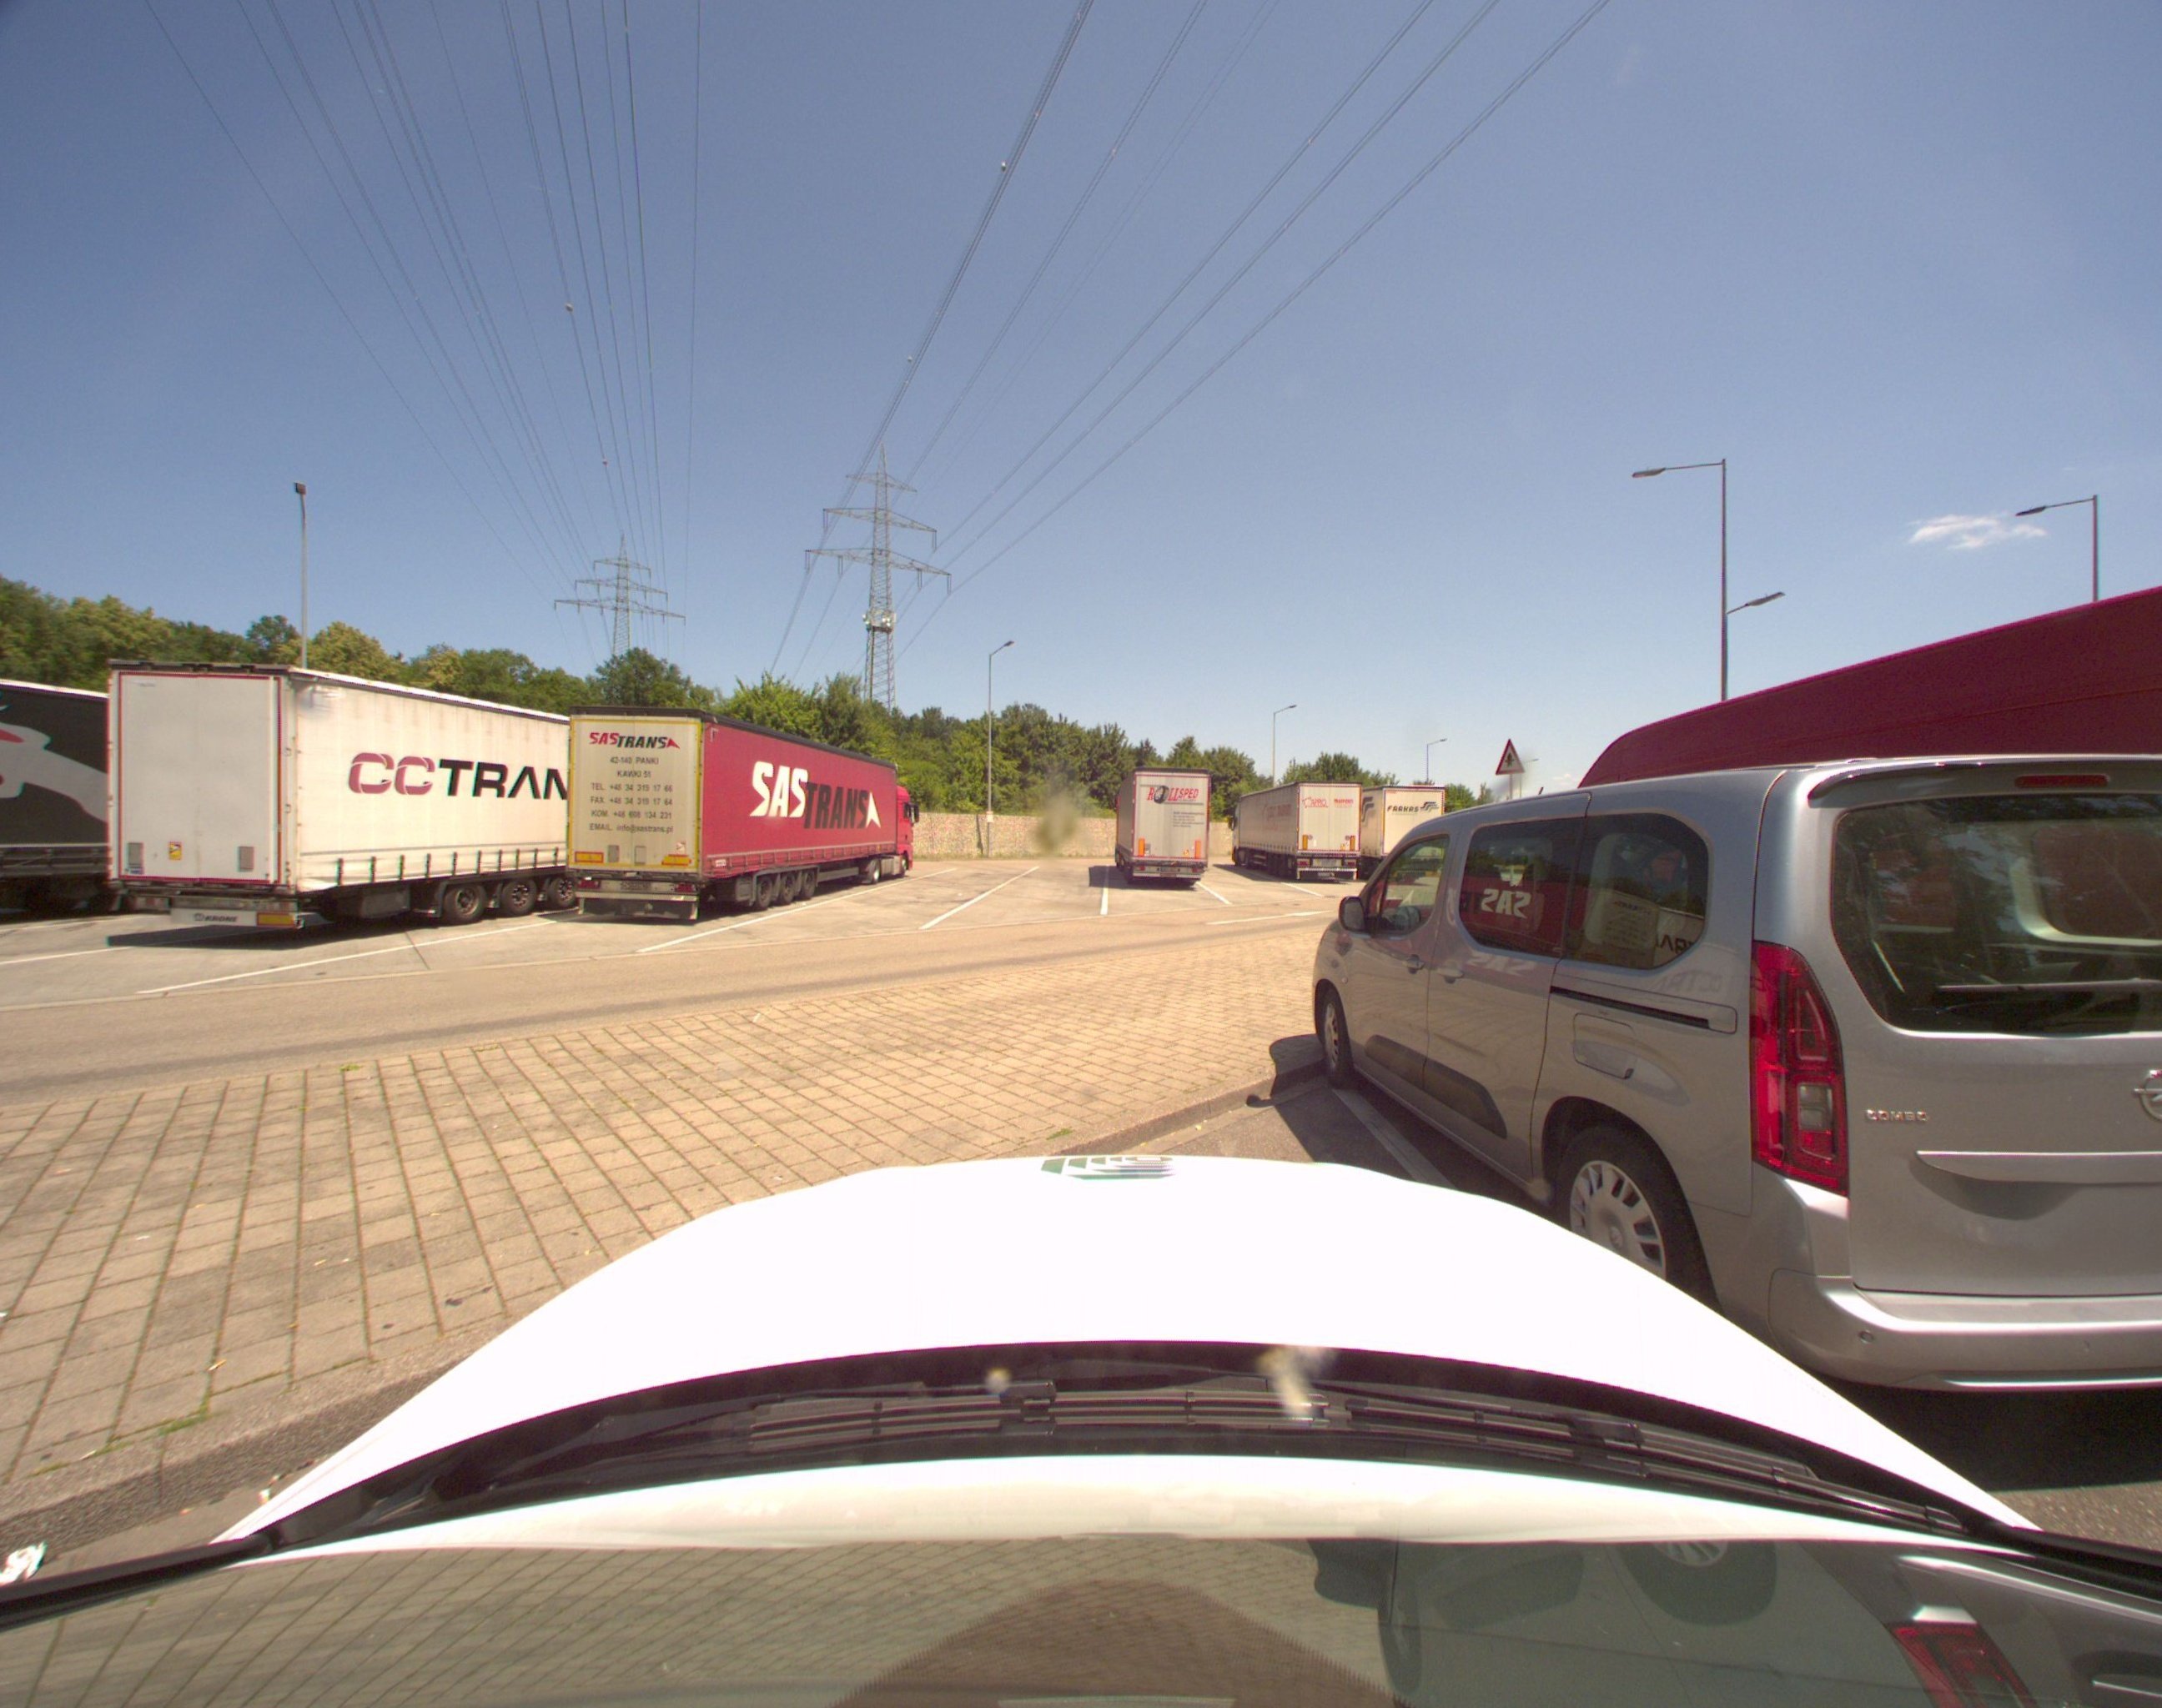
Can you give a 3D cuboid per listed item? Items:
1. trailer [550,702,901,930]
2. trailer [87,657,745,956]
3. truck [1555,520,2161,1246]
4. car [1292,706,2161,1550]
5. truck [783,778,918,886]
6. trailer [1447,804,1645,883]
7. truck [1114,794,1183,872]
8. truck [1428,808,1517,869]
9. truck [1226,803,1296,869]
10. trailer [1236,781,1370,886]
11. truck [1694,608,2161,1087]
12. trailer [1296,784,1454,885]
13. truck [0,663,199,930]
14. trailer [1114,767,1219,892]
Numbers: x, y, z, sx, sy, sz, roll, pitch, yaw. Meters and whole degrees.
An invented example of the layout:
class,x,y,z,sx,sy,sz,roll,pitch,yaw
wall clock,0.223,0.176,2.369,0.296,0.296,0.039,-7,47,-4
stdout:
class,x,y,z,sx,sy,sz,roll,pitch,yaw
trailer,-8.065,-0.944,21.916,2.781,4.084,14.139,1,2,2
trailer,-12.129,-0.908,18.347,2.785,4.084,14.139,1,2,2
truck,5.133,0.123,4.916,1.968,2.622,5.314,0,-1,7
car,2.486,0.578,3.893,1.864,1.863,4.176,1,1,0
truck,-7.816,-0.781,28.486,2.840,3.327,5.903,1,2,2
trailer,24.100,-0.729,43.761,2.801,3.507,14.403,1,2,2
truck,3.230,-1.077,40.599,3.092,3.566,5.903,1,2,2
truck,24.357,-1.001,50.993,2.792,3.521,5.903,1,2,2
truck,10.193,-1.071,46.754,2.852,3.521,5.903,1,2,2
trailer,9.930,-1.041,38.653,2.801,3.989,14.403,1,2,2
truck,7.989,-0.033,6.464,2.444,2.912,5.663,-1,-1,7
trailer,13.603,-1.032,39.616,2.801,3.989,14.403,1,2,2
truck,-18.542,-0.966,13.796,2.726,4.239,3.997,1,2,2
trailer,3.064,-1.060,33.705,3.122,3.989,14.401,1,2,1
